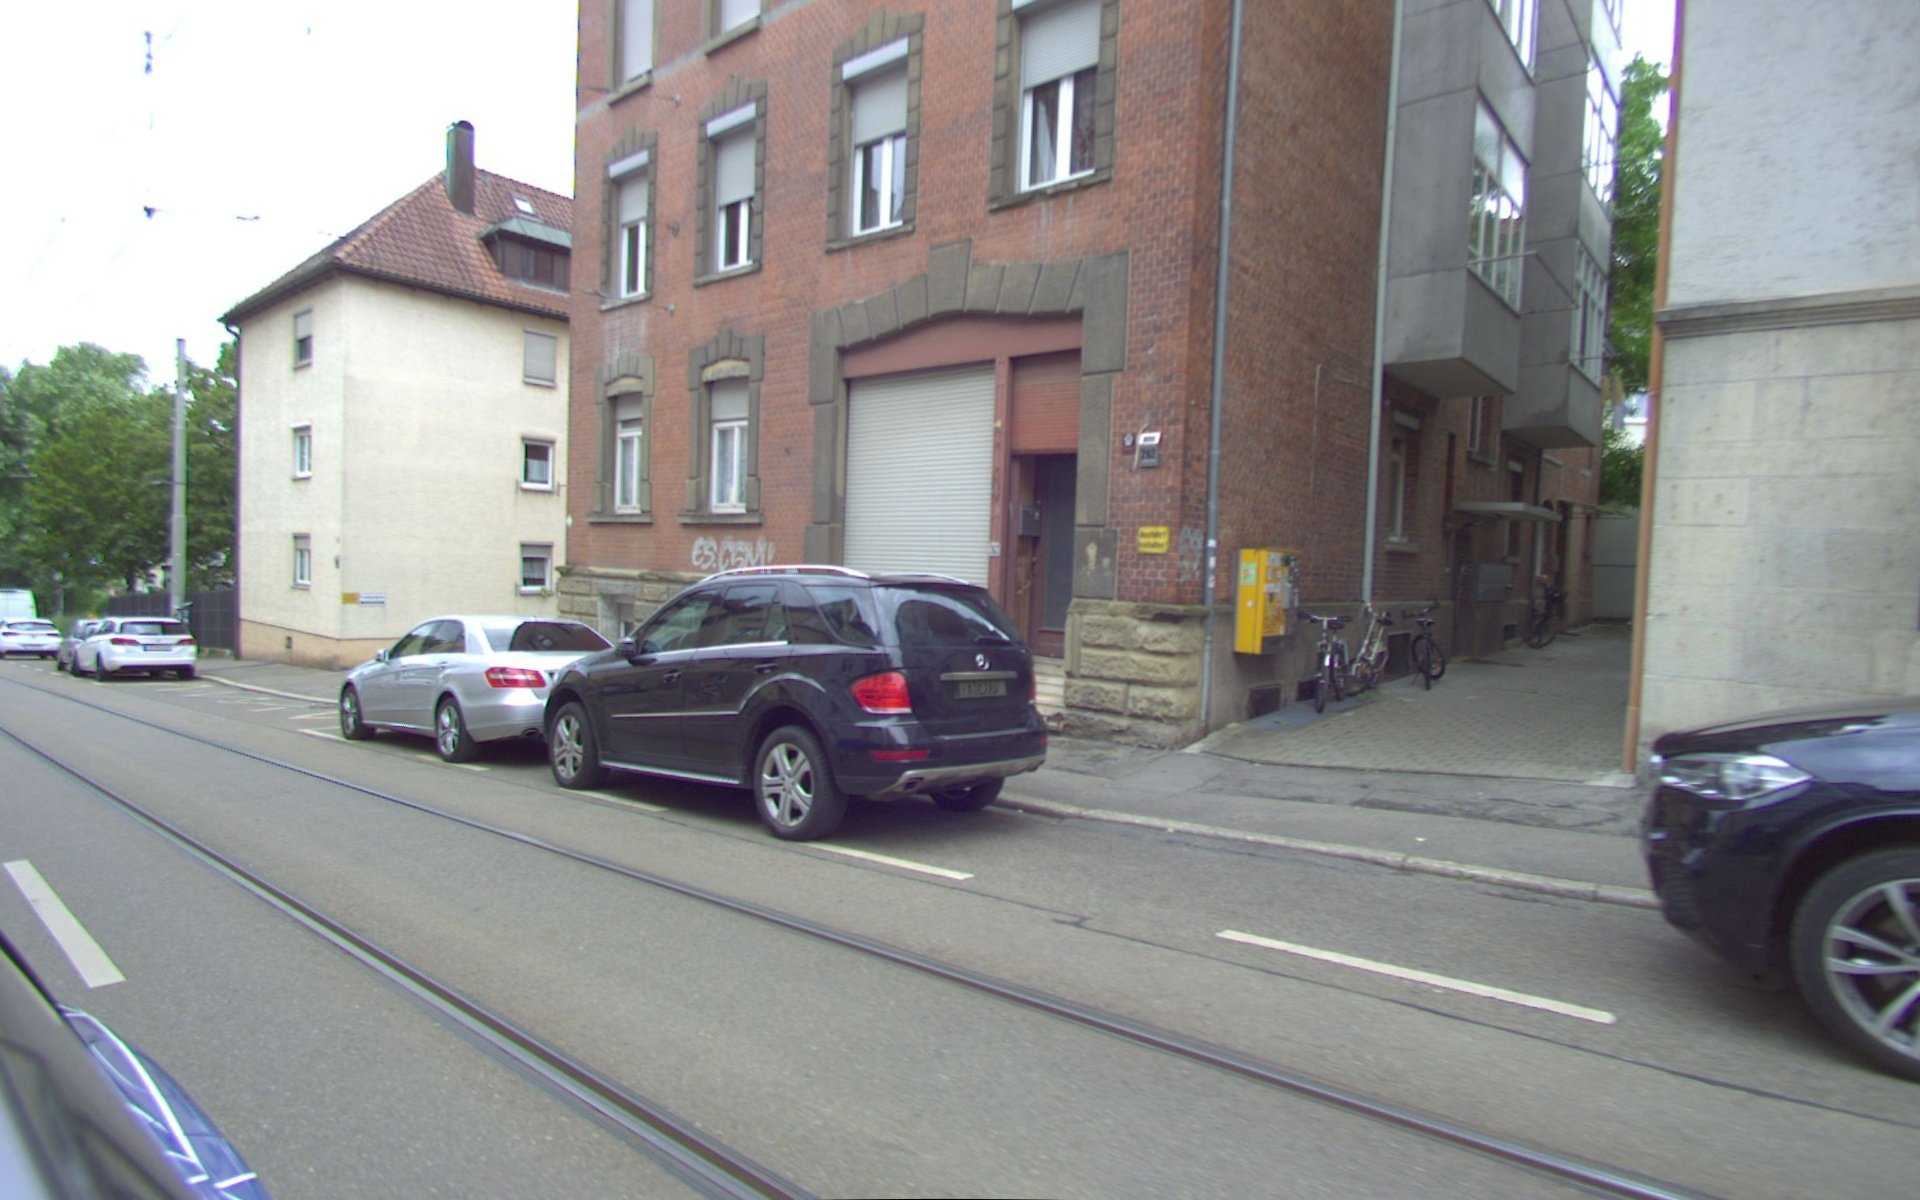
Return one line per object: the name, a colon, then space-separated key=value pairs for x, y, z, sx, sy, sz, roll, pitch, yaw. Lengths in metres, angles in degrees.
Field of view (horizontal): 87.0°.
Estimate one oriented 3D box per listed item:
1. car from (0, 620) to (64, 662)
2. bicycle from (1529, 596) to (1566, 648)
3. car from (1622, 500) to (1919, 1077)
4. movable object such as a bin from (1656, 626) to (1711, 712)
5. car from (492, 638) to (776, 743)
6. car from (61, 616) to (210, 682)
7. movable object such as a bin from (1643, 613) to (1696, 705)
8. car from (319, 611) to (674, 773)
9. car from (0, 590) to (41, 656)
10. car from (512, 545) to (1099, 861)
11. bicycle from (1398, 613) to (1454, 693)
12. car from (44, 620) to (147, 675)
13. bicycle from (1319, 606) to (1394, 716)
car: x=-33.276 y=1.447 z=35.859 sx=4.311 sy=1.413 sz=1.701 roll=-1 pitch=-4 yaw=41
bicycle: x=11.399 y=0.409 z=19.613 sx=0.446 sy=0.908 sz=1.656 roll=2 pitch=3 yaw=36
car: x=4.692 y=0.543 z=2.501 sx=4.890 sy=1.677 sz=1.853 roll=-1 pitch=-3 yaw=42
movable object such as a bin: x=8.086 y=0.758 z=11.306 sx=0.464 sy=0.911 sz=0.422 roll=0 pitch=0 yaw=41
car: x=-6.437 y=1.876 z=20.542 sx=1.940 sy=1.832 sz=5.119 roll=-1 pitch=-6 yaw=41
car: x=-19.739 y=1.158 z=24.171 sx=4.622 sy=1.440 sz=1.809 roll=-1 pitch=-4 yaw=39
movable object such as a bin: x=8.259 y=0.672 z=11.782 sx=0.464 sy=1.031 sz=0.476 roll=0 pitch=0 yaw=41
car: x=-5.330 y=0.894 z=11.289 sx=4.837 sy=1.440 sz=1.808 roll=-1 pitch=-3 yaw=42
car: x=-40.745 y=0.990 z=42.557 sx=6.213 sy=2.627 sz=2.137 roll=-1 pitch=-4 yaw=40
car: x=-1.470 y=0.638 z=7.886 sx=4.911 sy=1.731 sz=1.808 roll=-1 pitch=-3 yaw=42
bicycle: x=6.122 y=0.666 z=13.266 sx=0.342 sy=0.908 sz=1.656 roll=2 pitch=3 yaw=36
car: x=-23.350 y=1.279 z=27.298 sx=3.806 sy=1.379 sz=1.583 roll=-2 pitch=-4 yaw=42
bicycle: x=4.346 y=0.629 z=11.047 sx=0.342 sy=1.042 sz=1.656 roll=2 pitch=3 yaw=36
